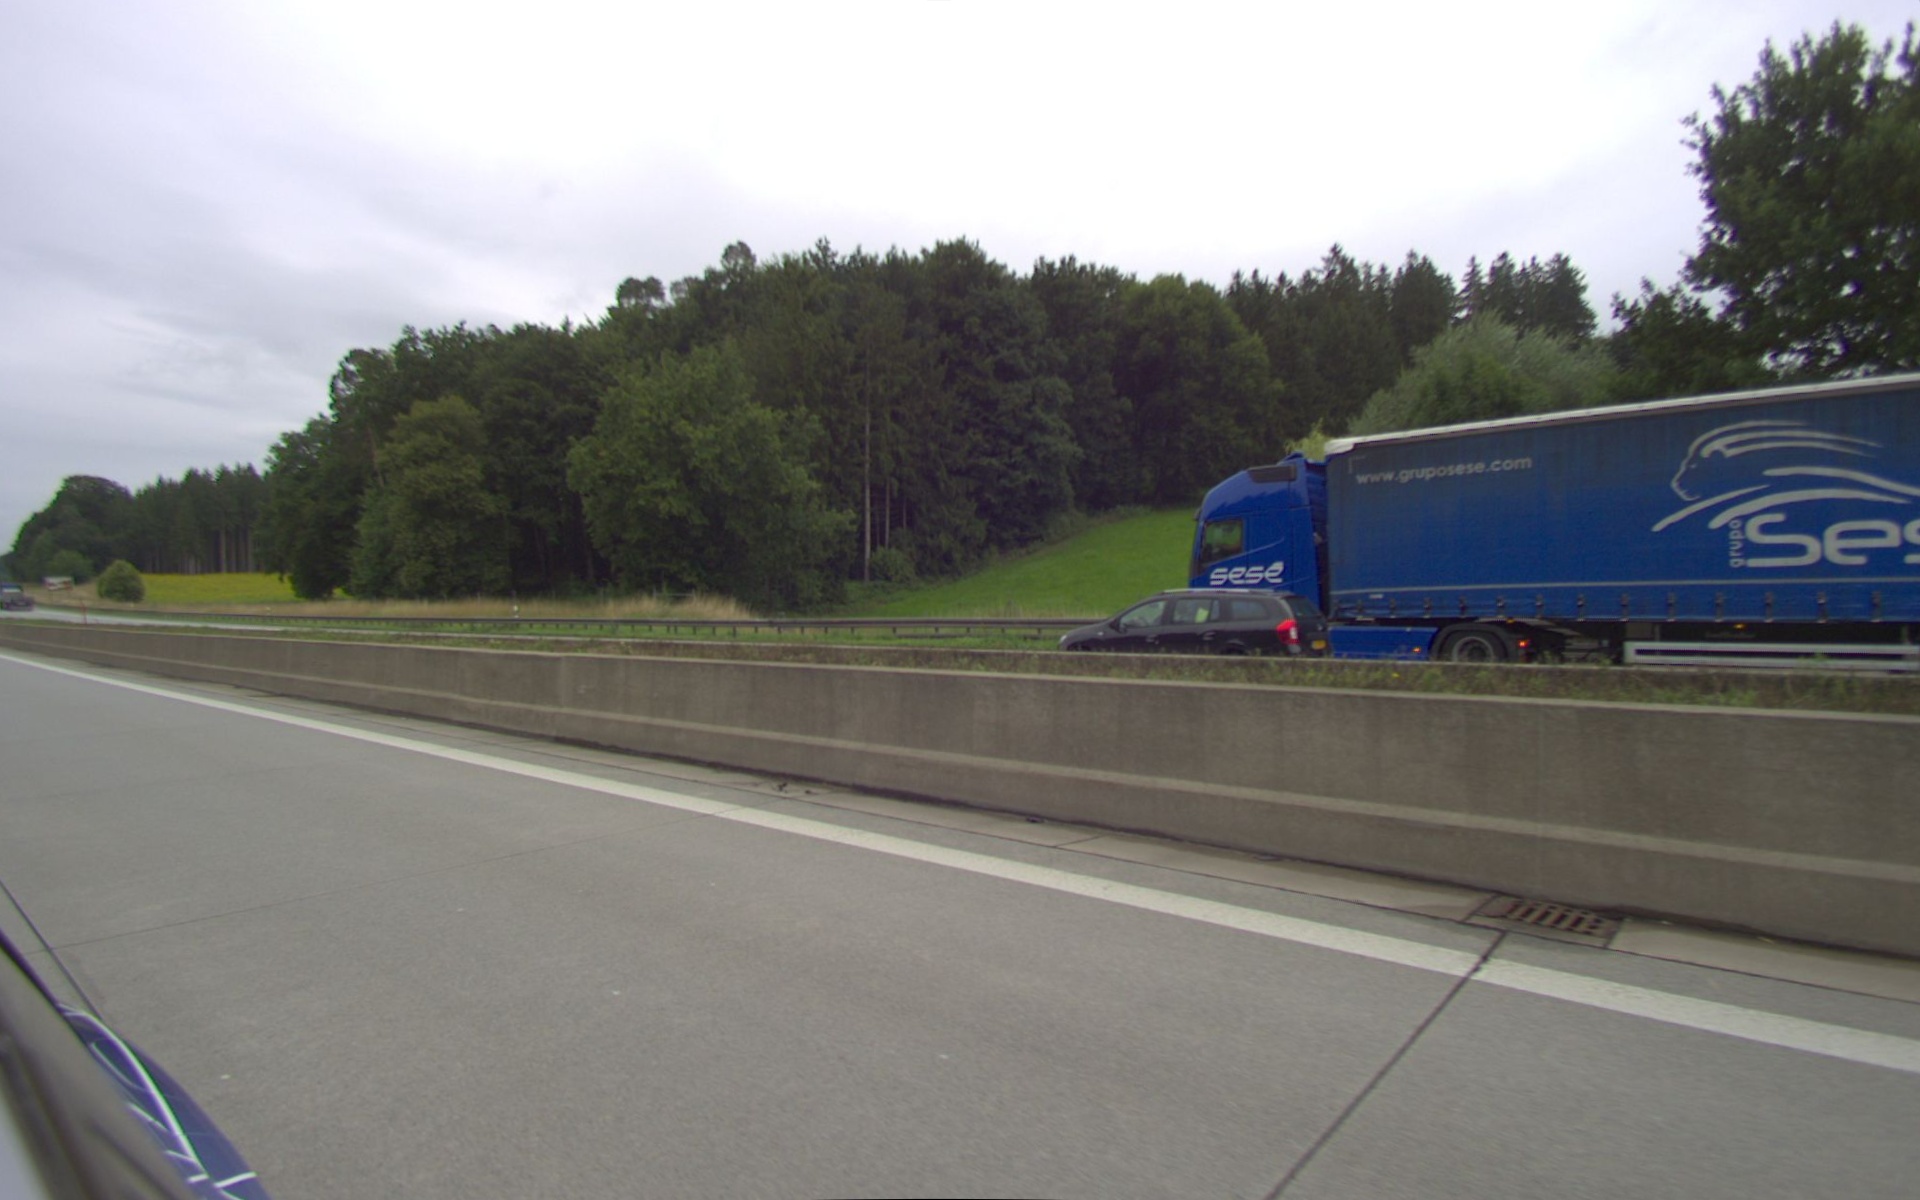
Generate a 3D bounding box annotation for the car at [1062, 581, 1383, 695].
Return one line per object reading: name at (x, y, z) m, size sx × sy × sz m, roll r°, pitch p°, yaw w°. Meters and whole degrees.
car at (3.909, 0.511, 15.568) m, size 4.514 × 1.512 × 1.620 m, roll -1°, pitch 0°, yaw 40°

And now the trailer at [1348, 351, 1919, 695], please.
trailer at (12.665, -0.964, 13.546) m, size 13.785 × 4.240 × 2.682 m, roll -2°, pitch 0°, yaw 41°

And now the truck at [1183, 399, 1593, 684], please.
truck at (7.442, -0.884, 18.079) m, size 6.208 × 4.220 × 2.664 m, roll 0°, pitch 1°, yaw 41°

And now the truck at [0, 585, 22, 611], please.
truck at (-136.960, -0.322, 145.173) m, size 6.638 × 3.543 × 2.728 m, roll 0°, pitch 1°, yaw 41°

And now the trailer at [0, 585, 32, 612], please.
trailer at (-131.817, -0.291, 140.631) m, size 13.879 × 3.534 × 2.756 m, roll 0°, pitch 1°, yaw 41°
